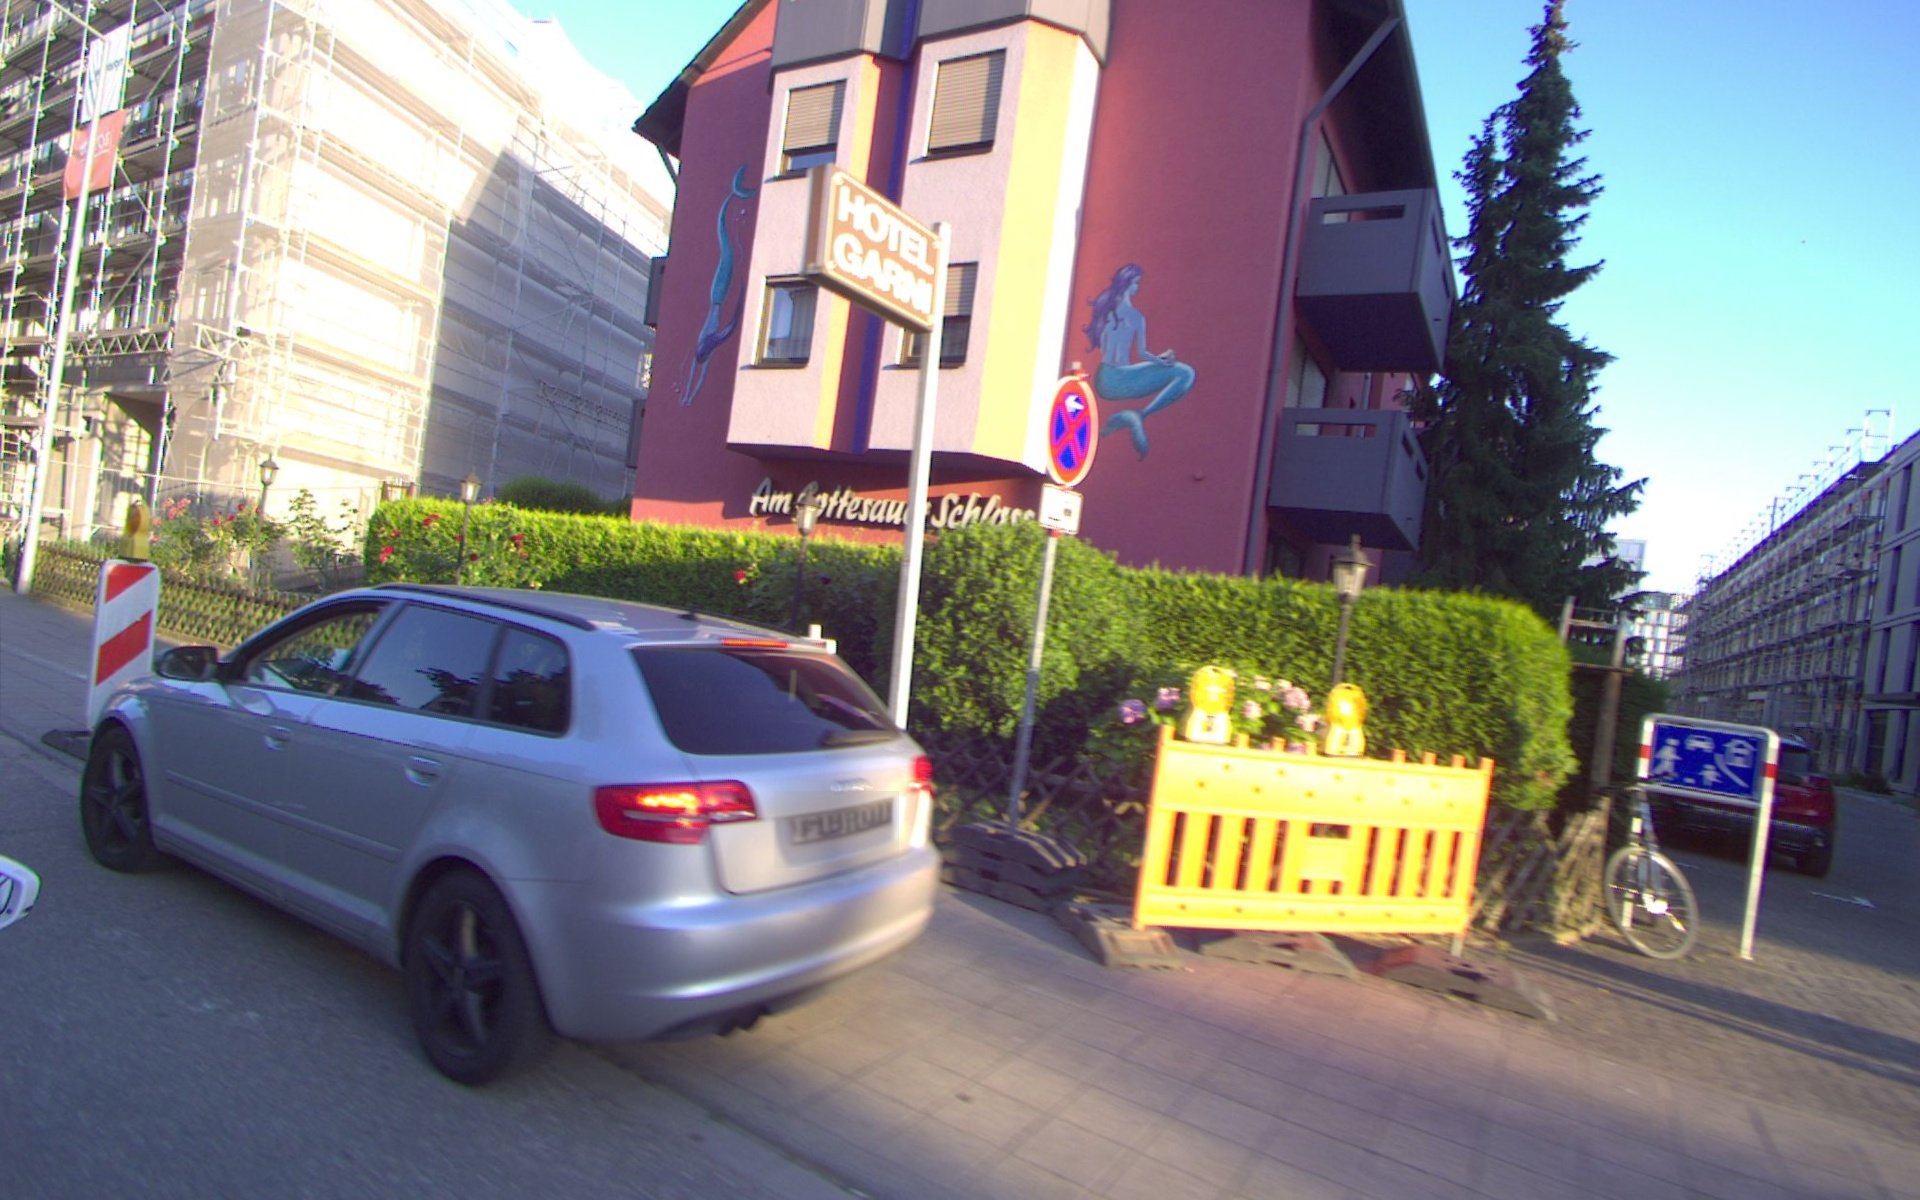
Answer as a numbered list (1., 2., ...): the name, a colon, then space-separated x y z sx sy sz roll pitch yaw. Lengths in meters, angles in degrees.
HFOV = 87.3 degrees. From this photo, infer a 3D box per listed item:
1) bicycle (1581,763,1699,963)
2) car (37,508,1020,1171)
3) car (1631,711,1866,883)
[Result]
1. bicycle: 4.768 1.743 7.004 0.440 1.082 1.893 7 -1 38
2. car: -2.008 0.573 4.312 4.039 1.413 1.778 7 -1 32
3. car: 10.141 2.418 13.260 1.855 1.586 3.906 7 -1 32
